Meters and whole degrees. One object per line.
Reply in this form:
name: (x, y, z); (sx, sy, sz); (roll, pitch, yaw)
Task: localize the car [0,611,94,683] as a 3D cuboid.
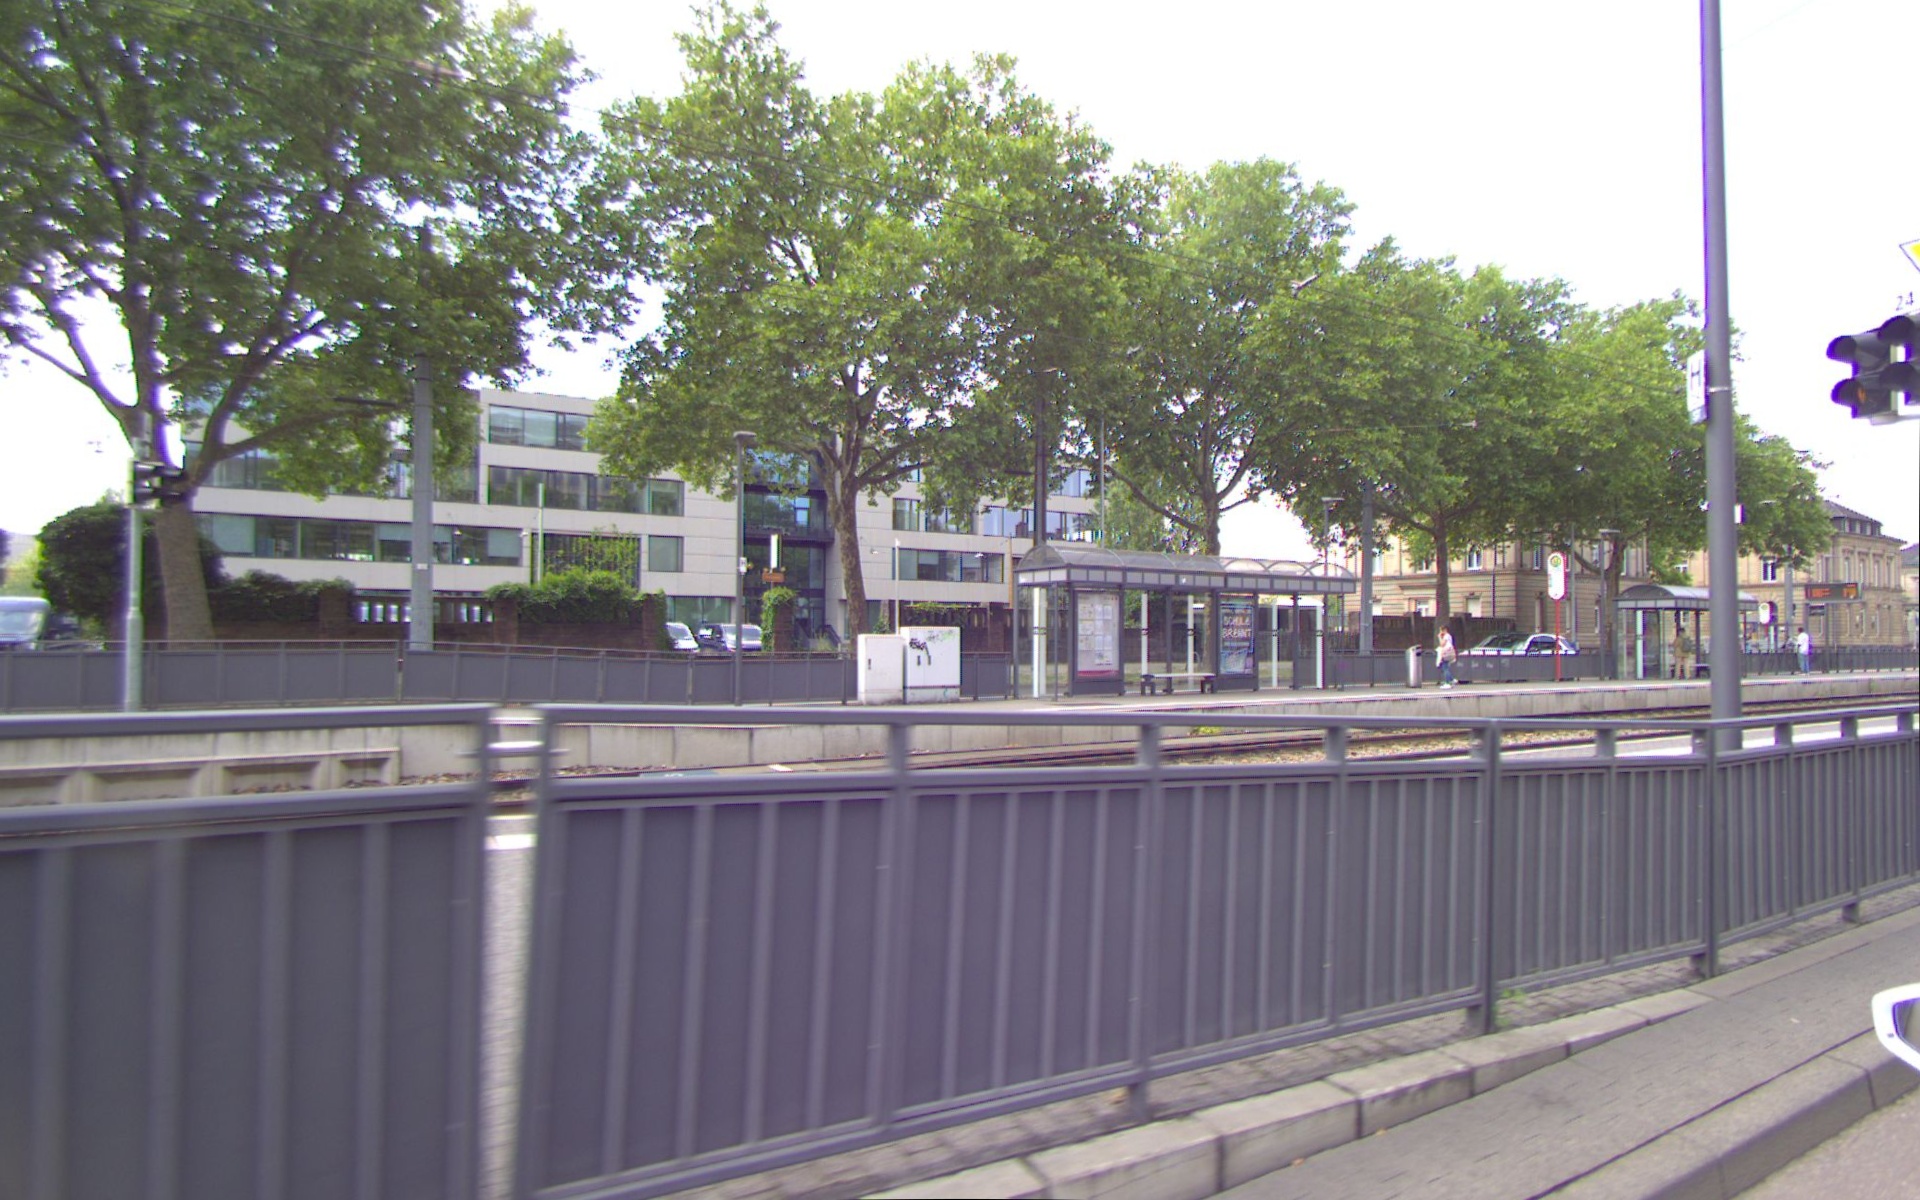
car: (-28.098, 1.456, 30.515); (1.937, 2.060, 4.119); (2, -4, -30)

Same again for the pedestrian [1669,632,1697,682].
pedestrian: (23.108, 1.823, 32.113); (0.635, 1.579, 0.498); (1, -2, -30)

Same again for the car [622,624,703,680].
car: (-11.416, 2.011, 38.348); (1.914, 2.014, 4.804); (1, -4, -30)

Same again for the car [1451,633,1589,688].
car: (18.874, 2.016, 33.803); (4.765, 1.727, 1.984); (2, -2, -31)

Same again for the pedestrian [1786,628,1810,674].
pedestrian: (32.009, 1.945, 38.382); (0.635, 1.705, 0.498); (1, -2, -30)

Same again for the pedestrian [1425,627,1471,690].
pedestrian: (12.075, 1.442, 24.851); (0.795, 1.532, 0.697); (1, -3, -34)
